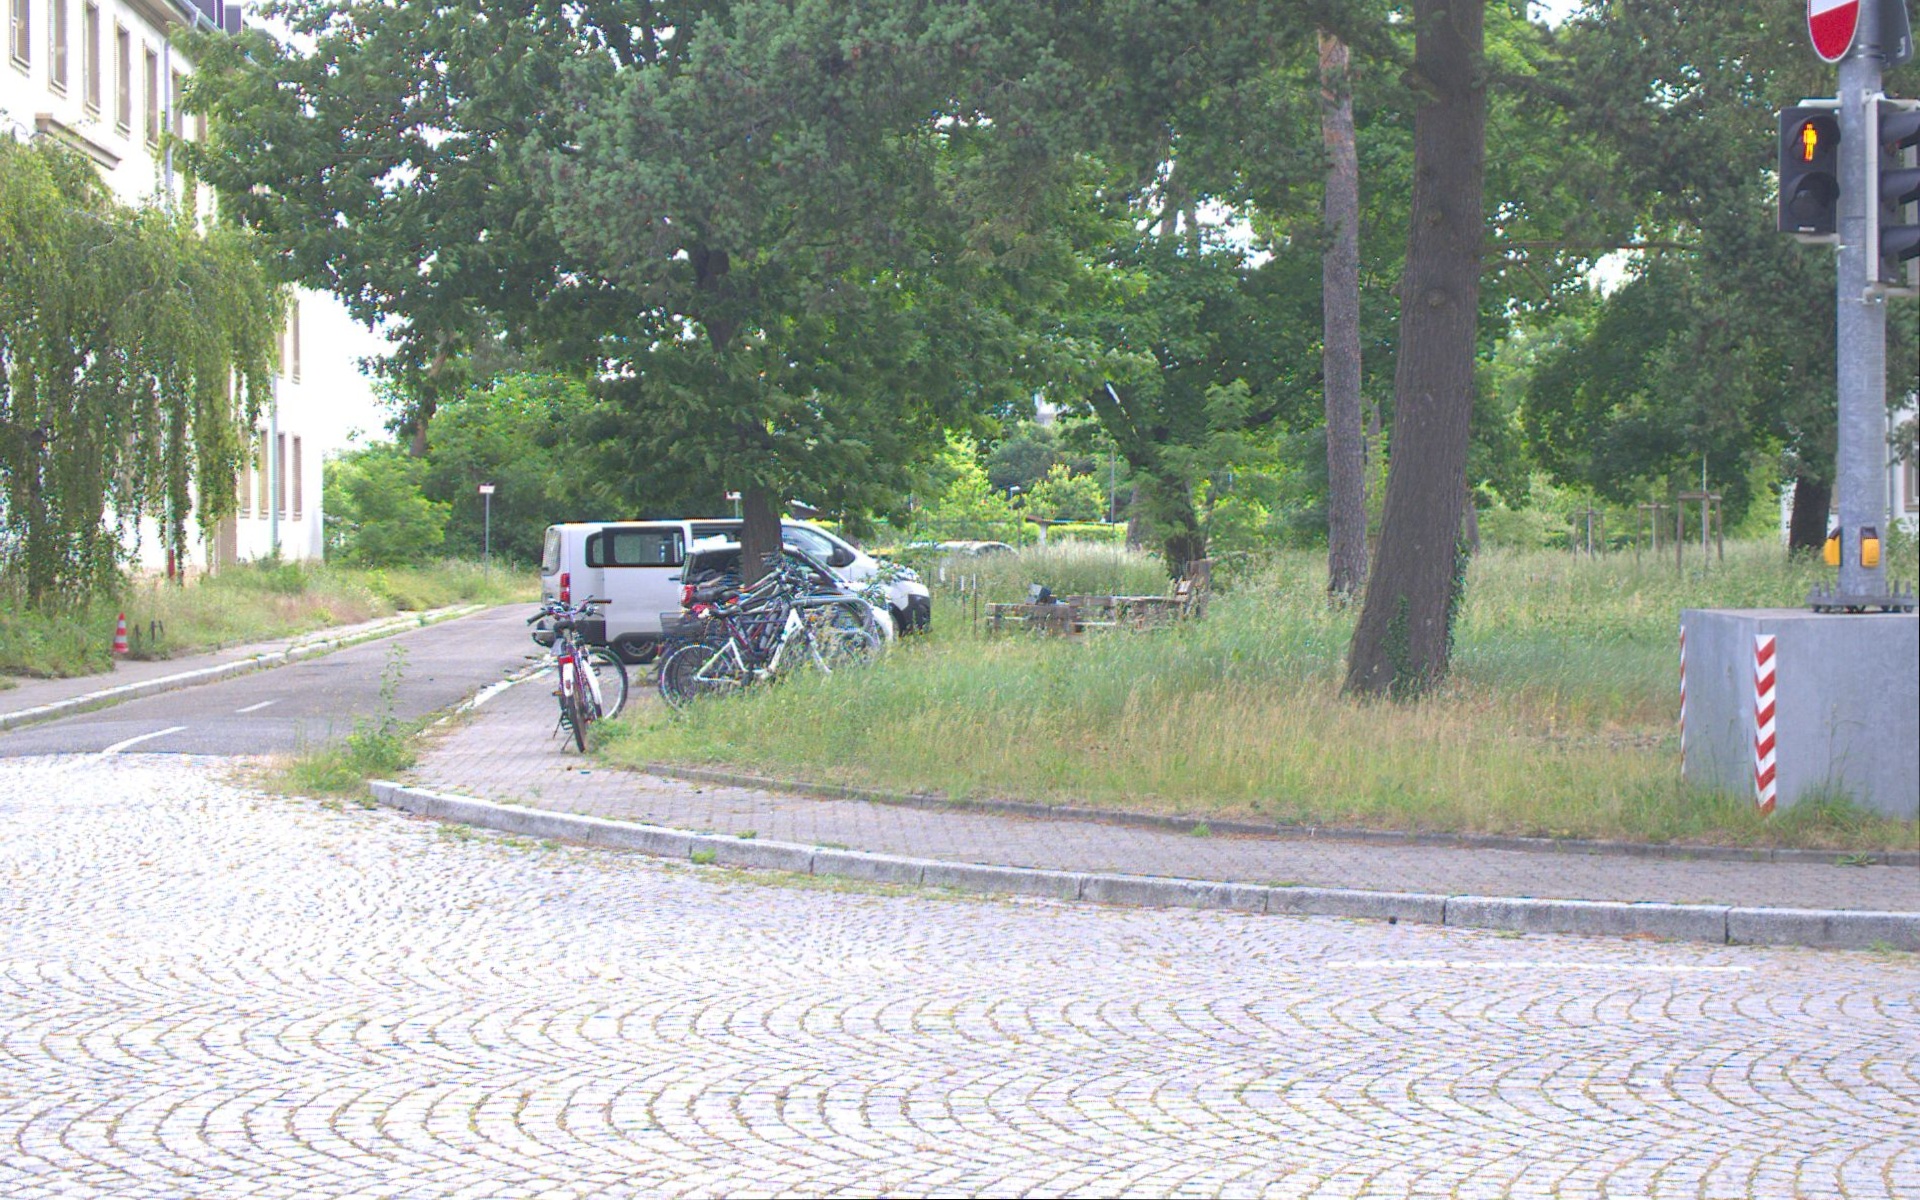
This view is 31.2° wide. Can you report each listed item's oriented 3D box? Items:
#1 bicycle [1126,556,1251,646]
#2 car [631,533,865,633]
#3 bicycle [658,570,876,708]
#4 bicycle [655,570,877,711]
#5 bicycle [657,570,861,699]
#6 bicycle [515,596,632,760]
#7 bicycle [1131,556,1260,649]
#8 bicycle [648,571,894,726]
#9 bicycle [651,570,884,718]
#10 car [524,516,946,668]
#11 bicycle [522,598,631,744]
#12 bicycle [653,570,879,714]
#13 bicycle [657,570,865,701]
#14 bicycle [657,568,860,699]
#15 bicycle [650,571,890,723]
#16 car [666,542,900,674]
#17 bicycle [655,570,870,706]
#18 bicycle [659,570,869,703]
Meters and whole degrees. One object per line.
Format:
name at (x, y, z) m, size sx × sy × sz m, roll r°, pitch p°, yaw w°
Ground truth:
bicycle at (2.876, 0.013, 43.330) m, size 1.549 × 1.121 × 0.401 m, roll 0°, pitch 1°, yaw -1°
car at (-3.721, -0.306, 60.233) m, size 4.031 × 1.712 × 1.681 m, roll 0°, pitch 1°, yaw -4°
bicycle at (-1.795, 0.358, 31.878) m, size 1.982 × 1.243 × 0.624 m, roll 1°, pitch 0°, yaw -5°
bicycle at (-1.775, 0.364, 31.352) m, size 1.982 × 1.243 × 0.624 m, roll 1°, pitch 0°, yaw -5°
bicycle at (-1.992, 0.336, 33.956) m, size 1.982 × 1.243 × 0.624 m, roll 1°, pitch 0°, yaw -5°
bicycle at (-2.780, 0.541, 24.875) m, size 0.622 × 1.110 × 1.989 m, roll 1°, pitch 0°, yaw 0°
bicycle at (2.881, 0.028, 42.098) m, size 1.549 × 1.121 × 0.401 m, roll 0°, pitch 1°, yaw -1°
bicycle at (-1.561, 0.396, 28.311) m, size 1.982 × 1.243 × 0.624 m, roll 1°, pitch 0°, yaw -5°
bicycle at (-1.680, 0.379, 29.863) m, size 1.982 × 1.243 × 0.624 m, roll 1°, pitch 0°, yaw -5°
car at (-3.049, -0.137, 46.360) m, size 5.303 × 1.909 × 2.150 m, roll -1°, pitch 1°, yaw -17°
bicycle at (-2.978, 0.536, 26.822) m, size 0.622 × 1.079 × 1.677 m, roll 1°, pitch 0°, yaw 1°
bicycle at (-1.738, 0.370, 30.720) m, size 1.982 × 1.243 × 0.624 m, roll 1°, pitch 0°, yaw -5°
bicycle at (-1.942, 0.341, 33.464) m, size 1.982 × 1.243 × 0.624 m, roll 1°, pitch 0°, yaw -5°
bicycle at (-2.037, 0.329, 34.614) m, size 1.982 × 1.243 × 0.624 m, roll -2°, pitch 1°, yaw -5°
bicycle at (-1.603, 0.389, 28.939) m, size 1.982 × 1.243 × 0.624 m, roll 1°, pitch 0°, yaw -5°
car at (-2.214, 0.085, 42.921) m, size 2.847 × 1.552 × 1.472 m, roll -1°, pitch 2°, yaw -3°
bicycle at (-1.856, 0.354, 32.282) m, size 1.982 × 1.243 × 0.624 m, roll 1°, pitch 0°, yaw -5°
bicycle at (-1.885, 0.347, 32.953) m, size 1.982 × 1.243 × 0.624 m, roll 1°, pitch 0°, yaw -5°
